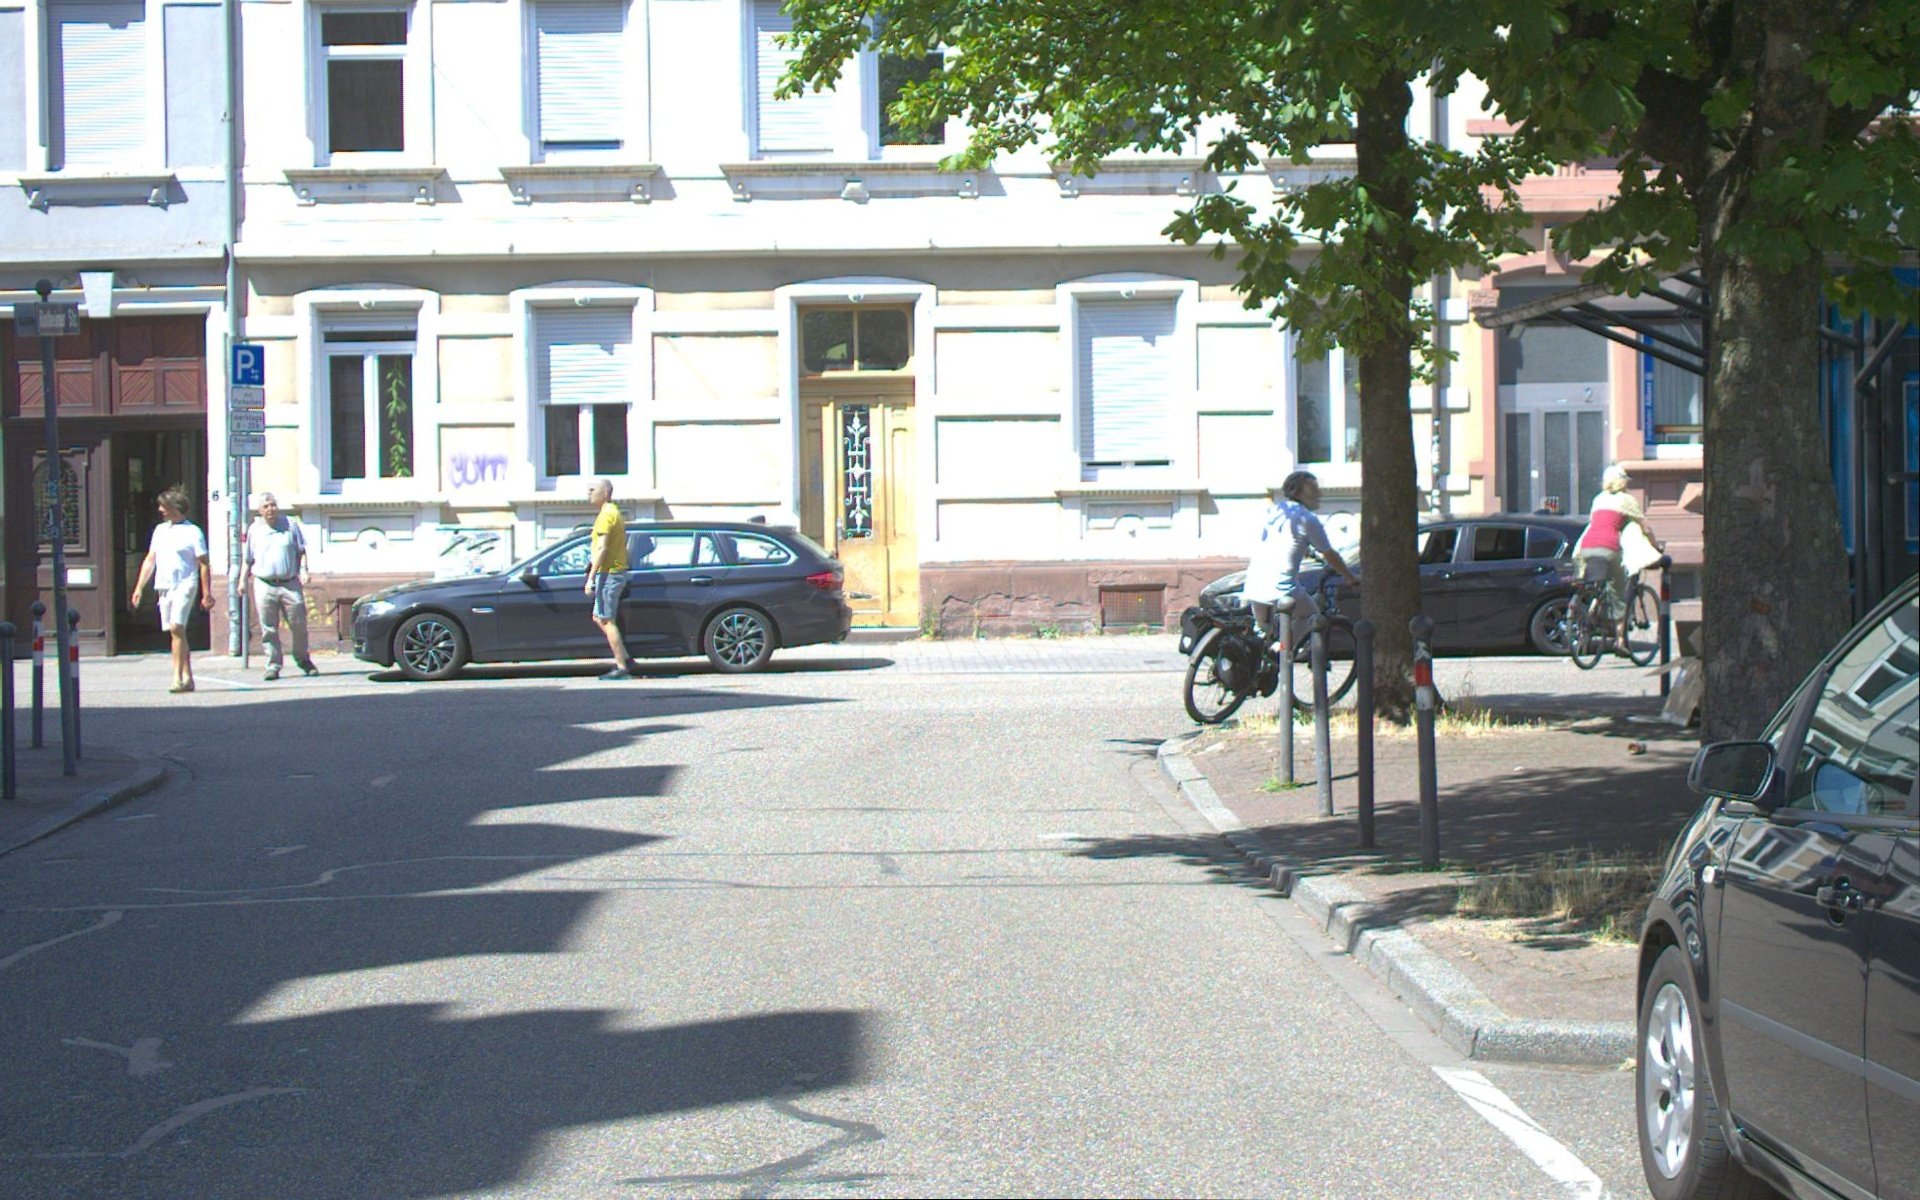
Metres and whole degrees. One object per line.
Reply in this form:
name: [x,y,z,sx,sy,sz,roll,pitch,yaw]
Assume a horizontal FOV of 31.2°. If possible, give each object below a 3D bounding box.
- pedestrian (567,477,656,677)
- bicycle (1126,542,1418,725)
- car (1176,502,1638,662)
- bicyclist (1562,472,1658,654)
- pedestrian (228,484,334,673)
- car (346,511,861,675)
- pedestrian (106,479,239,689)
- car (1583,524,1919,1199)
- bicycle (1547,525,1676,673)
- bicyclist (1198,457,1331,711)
pedestrian: [-3.301,-0.221,32.509,0.724,1.847,0.685,-2,1,-11]
bicycle: [2.230,0.213,24.274,0.653,1.224,2.435,2,2,44]
car: [4.388,-0.200,34.147,4.294,1.365,1.807,-2,4,-2]
bicyclist: [5.559,-0.318,29.379,0.671,1.527,0.609,-1,1,22]
pedestrian: [-6.679,-0.222,33.860,0.901,1.808,0.960,-2,1,-6]
car: [-3.426,-0.091,33.812,4.859,1.432,2.000,-2,1,-2]
pedestrian: [-7.238,-0.158,31.633,0.850,1.882,0.935,-1,1,9]
car: [2.458,0.649,6.456,1.663,1.535,4.178,1,1,-2]
bicycle: [5.617,-0.034,29.544,0.652,1.205,2.439,1,1,21]
bicyclist: [2.141,-0.118,24.191,0.672,1.754,0.608,2,2,45]
